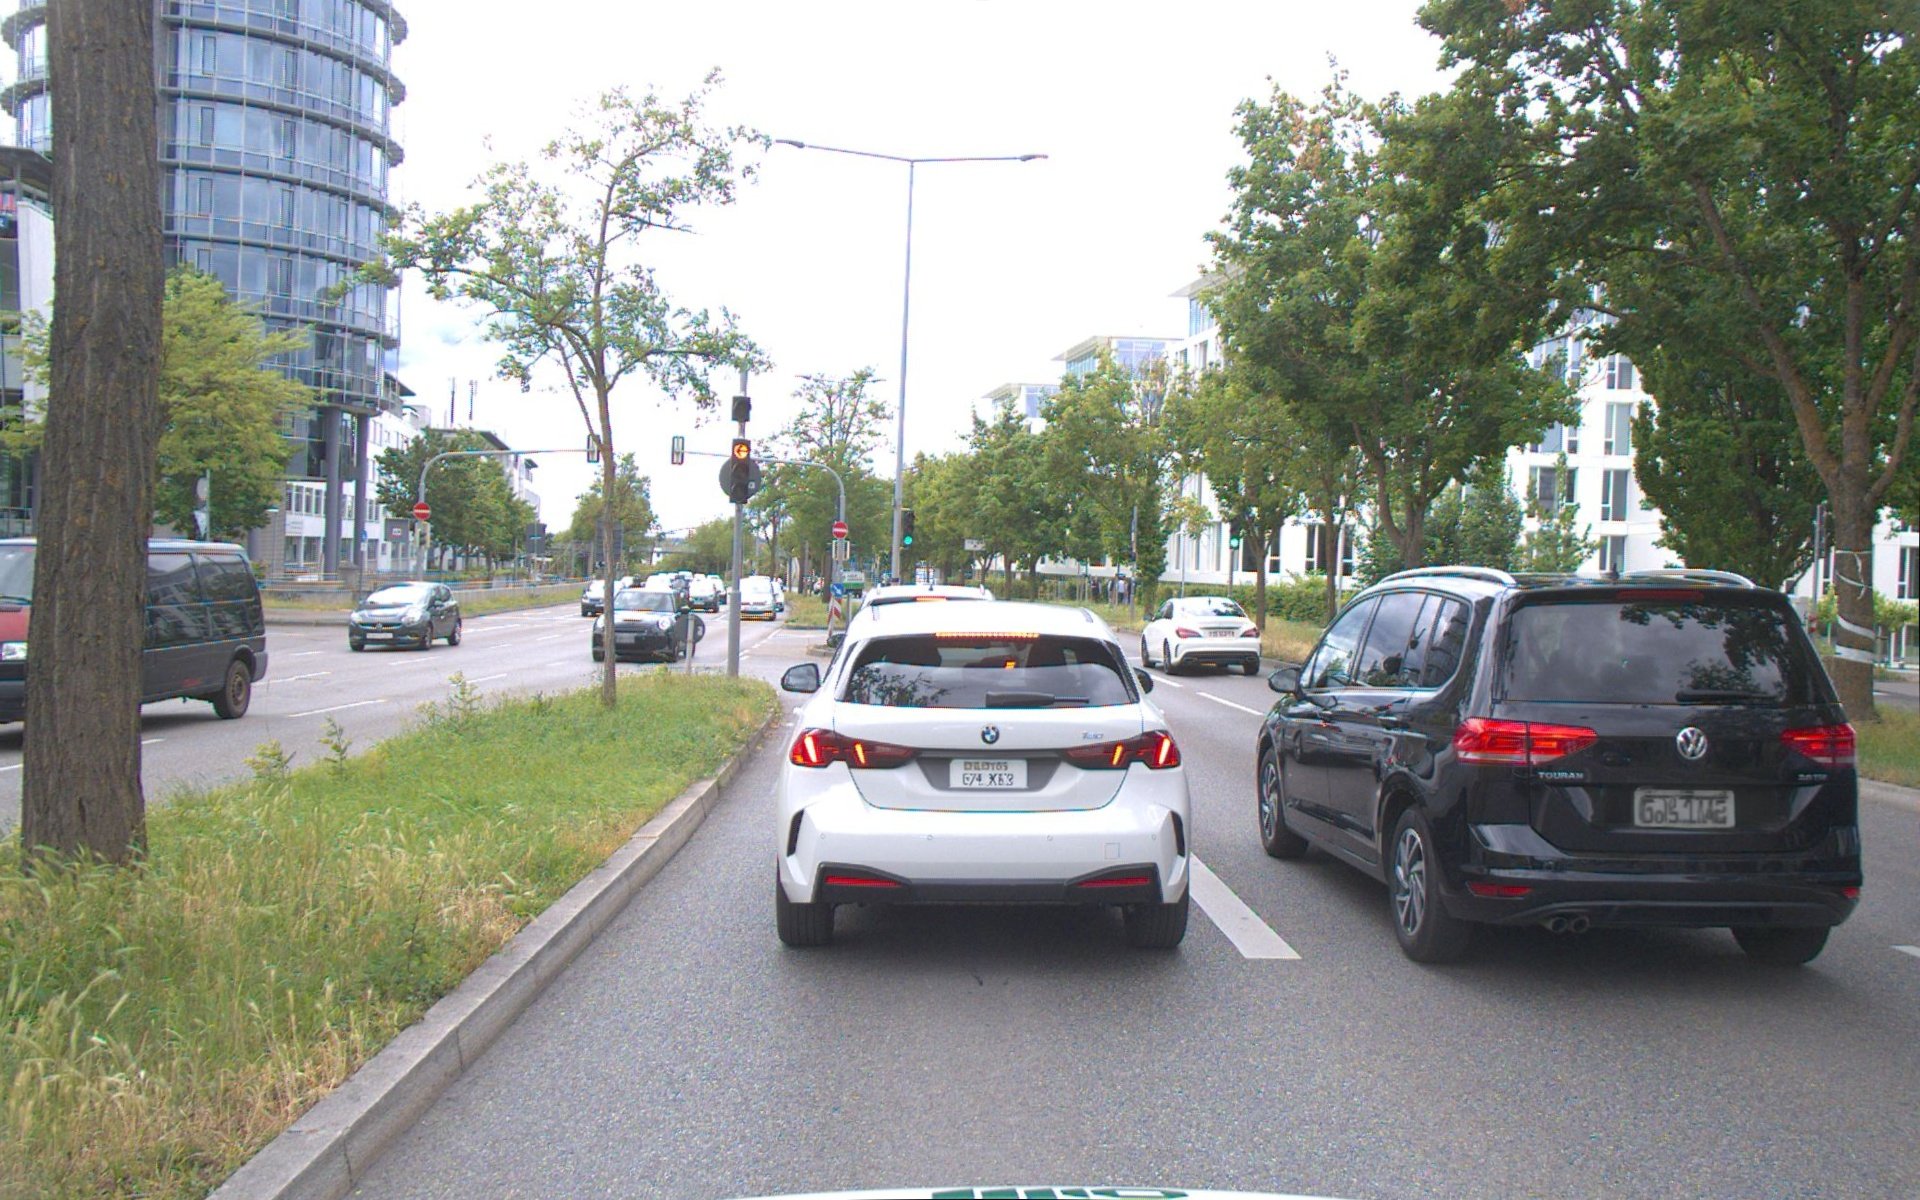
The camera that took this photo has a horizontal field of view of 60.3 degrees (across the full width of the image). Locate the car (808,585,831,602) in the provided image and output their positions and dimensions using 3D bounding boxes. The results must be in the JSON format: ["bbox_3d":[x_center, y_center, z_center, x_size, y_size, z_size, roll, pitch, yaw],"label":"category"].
[{"bbox_3d":[-13.443,-0.667,157.875,1.956,1.534,3.993,1,0,-8],"label":"car"}]

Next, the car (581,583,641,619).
[{"bbox_3d":[-14.328,0.018,68.061,1.673,1.443,3.802,1,0,-1],"label":"car"}]

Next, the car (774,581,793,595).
[{"bbox_3d":[-19.993,-1.397,187.429,1.954,1.516,3.997,2,0,-3],"label":"car"}]

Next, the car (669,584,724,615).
[{"bbox_3d":[-12.314,-0.046,77.412,1.953,1.378,3.999,1,0,-1],"label":"car"}]

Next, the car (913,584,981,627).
[{"bbox_3d":[-0.543,0.191,63.011,2.014,1.512,4.966,-2,1,-7],"label":"car"}]

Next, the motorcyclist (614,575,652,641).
[{"bbox_3d":[-9.437,0.233,47.767,0.831,1.869,1.259,1,0,-1],"label":"motorcyclist"}]

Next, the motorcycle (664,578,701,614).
[{"bbox_3d":[-11.282,-0.167,67.397,0.871,1.422,3.999,1,0,-1],"label":"motorcycle"}]

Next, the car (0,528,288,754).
[{"bbox_3d":[-8.762,0.340,16.810,1.896,1.951,4.972,0,0,-1],"label":"car"}]

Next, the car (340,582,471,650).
[{"bbox_3d":[-12.464,0.334,37.407,1.673,1.443,4.018,0,0,-1],"label":"car"}]

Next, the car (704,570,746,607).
[{"bbox_3d":[-13.665,-0.679,96.418,1.953,2.049,3.999,1,0,-2],"label":"car"}]

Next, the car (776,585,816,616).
[{"bbox_3d":[-8.064,0.009,81.554,1.633,1.429,3.999,1,0,-1],"label":"car"}]

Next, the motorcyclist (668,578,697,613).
[{"bbox_3d":[-11.276,-0.184,67.285,0.891,1.416,1.673,1,0,-1],"label":"motorcyclist"}]

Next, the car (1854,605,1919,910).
[{"bbox_3d":[5.651,0.770,6.428,1.927,1.464,4.311,-1,0,-2],"label":"car"}]

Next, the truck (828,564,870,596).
[{"bbox_3d":[-9.450,-1.670,140.640,2.808,2.563,6.271,2,0,-10],"label":"truck"}]

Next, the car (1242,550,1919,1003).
[{"bbox_3d":[2.802,0.638,8.284,1.927,1.669,4.311,0,0,-2],"label":"car"}]

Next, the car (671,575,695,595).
[{"bbox_3d":[-28.504,-1.551,170.236,1.954,2.046,4.321,1,0,-4],"label":"car"}]

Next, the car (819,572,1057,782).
[{"bbox_3d":[-0.183,0.652,15.843,1.953,1.701,4.000,2,0,0],"label":"car"}]

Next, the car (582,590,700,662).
[{"bbox_3d":[-6.496,0.493,34.030,1.718,1.395,3.779,1,0,-1],"label":"car"}]

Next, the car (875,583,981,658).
[{"bbox_3d":[-0.666,0.445,37.188,1.951,1.534,4.002,2,0,5],"label":"car"}]

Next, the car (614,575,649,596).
[{"bbox_3d":[-22.998,-1.000,115.900,1.673,1.443,3.802,1,0,-1],"label":"car"}]

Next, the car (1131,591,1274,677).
[{"bbox_3d":[4.631,0.616,32.247,1.758,1.498,4.695,2,0,-4],"label":"car"}]

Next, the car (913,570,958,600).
[{"bbox_3d":[-1.419,-0.835,94.420,1.957,1.624,3.991,2,0,-10],"label":"car"}]

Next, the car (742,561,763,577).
[{"bbox_3d":[-24.011,-3.544,191.264,1.953,1.646,3.999,3,0,-1],"label":"car"}]

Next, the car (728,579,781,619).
[{"bbox_3d":[-8.191,-0.057,66.237,1.673,1.523,3.802,0,0,-1],"label":"car"}]

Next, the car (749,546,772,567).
[{"bbox_3d":[-20.958,-4.576,173.926,1.954,2.045,4.321,3,0,-4],"label":"car"}]

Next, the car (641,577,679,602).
[{"bbox_3d":[-18.449,-0.645,101.708,1.673,1.443,3.802,1,0,-1],"label":"car"}]

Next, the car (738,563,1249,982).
[{"bbox_3d":[0.176,0.632,8.032,1.824,1.474,4.001,2,0,2],"label":"car"}]
